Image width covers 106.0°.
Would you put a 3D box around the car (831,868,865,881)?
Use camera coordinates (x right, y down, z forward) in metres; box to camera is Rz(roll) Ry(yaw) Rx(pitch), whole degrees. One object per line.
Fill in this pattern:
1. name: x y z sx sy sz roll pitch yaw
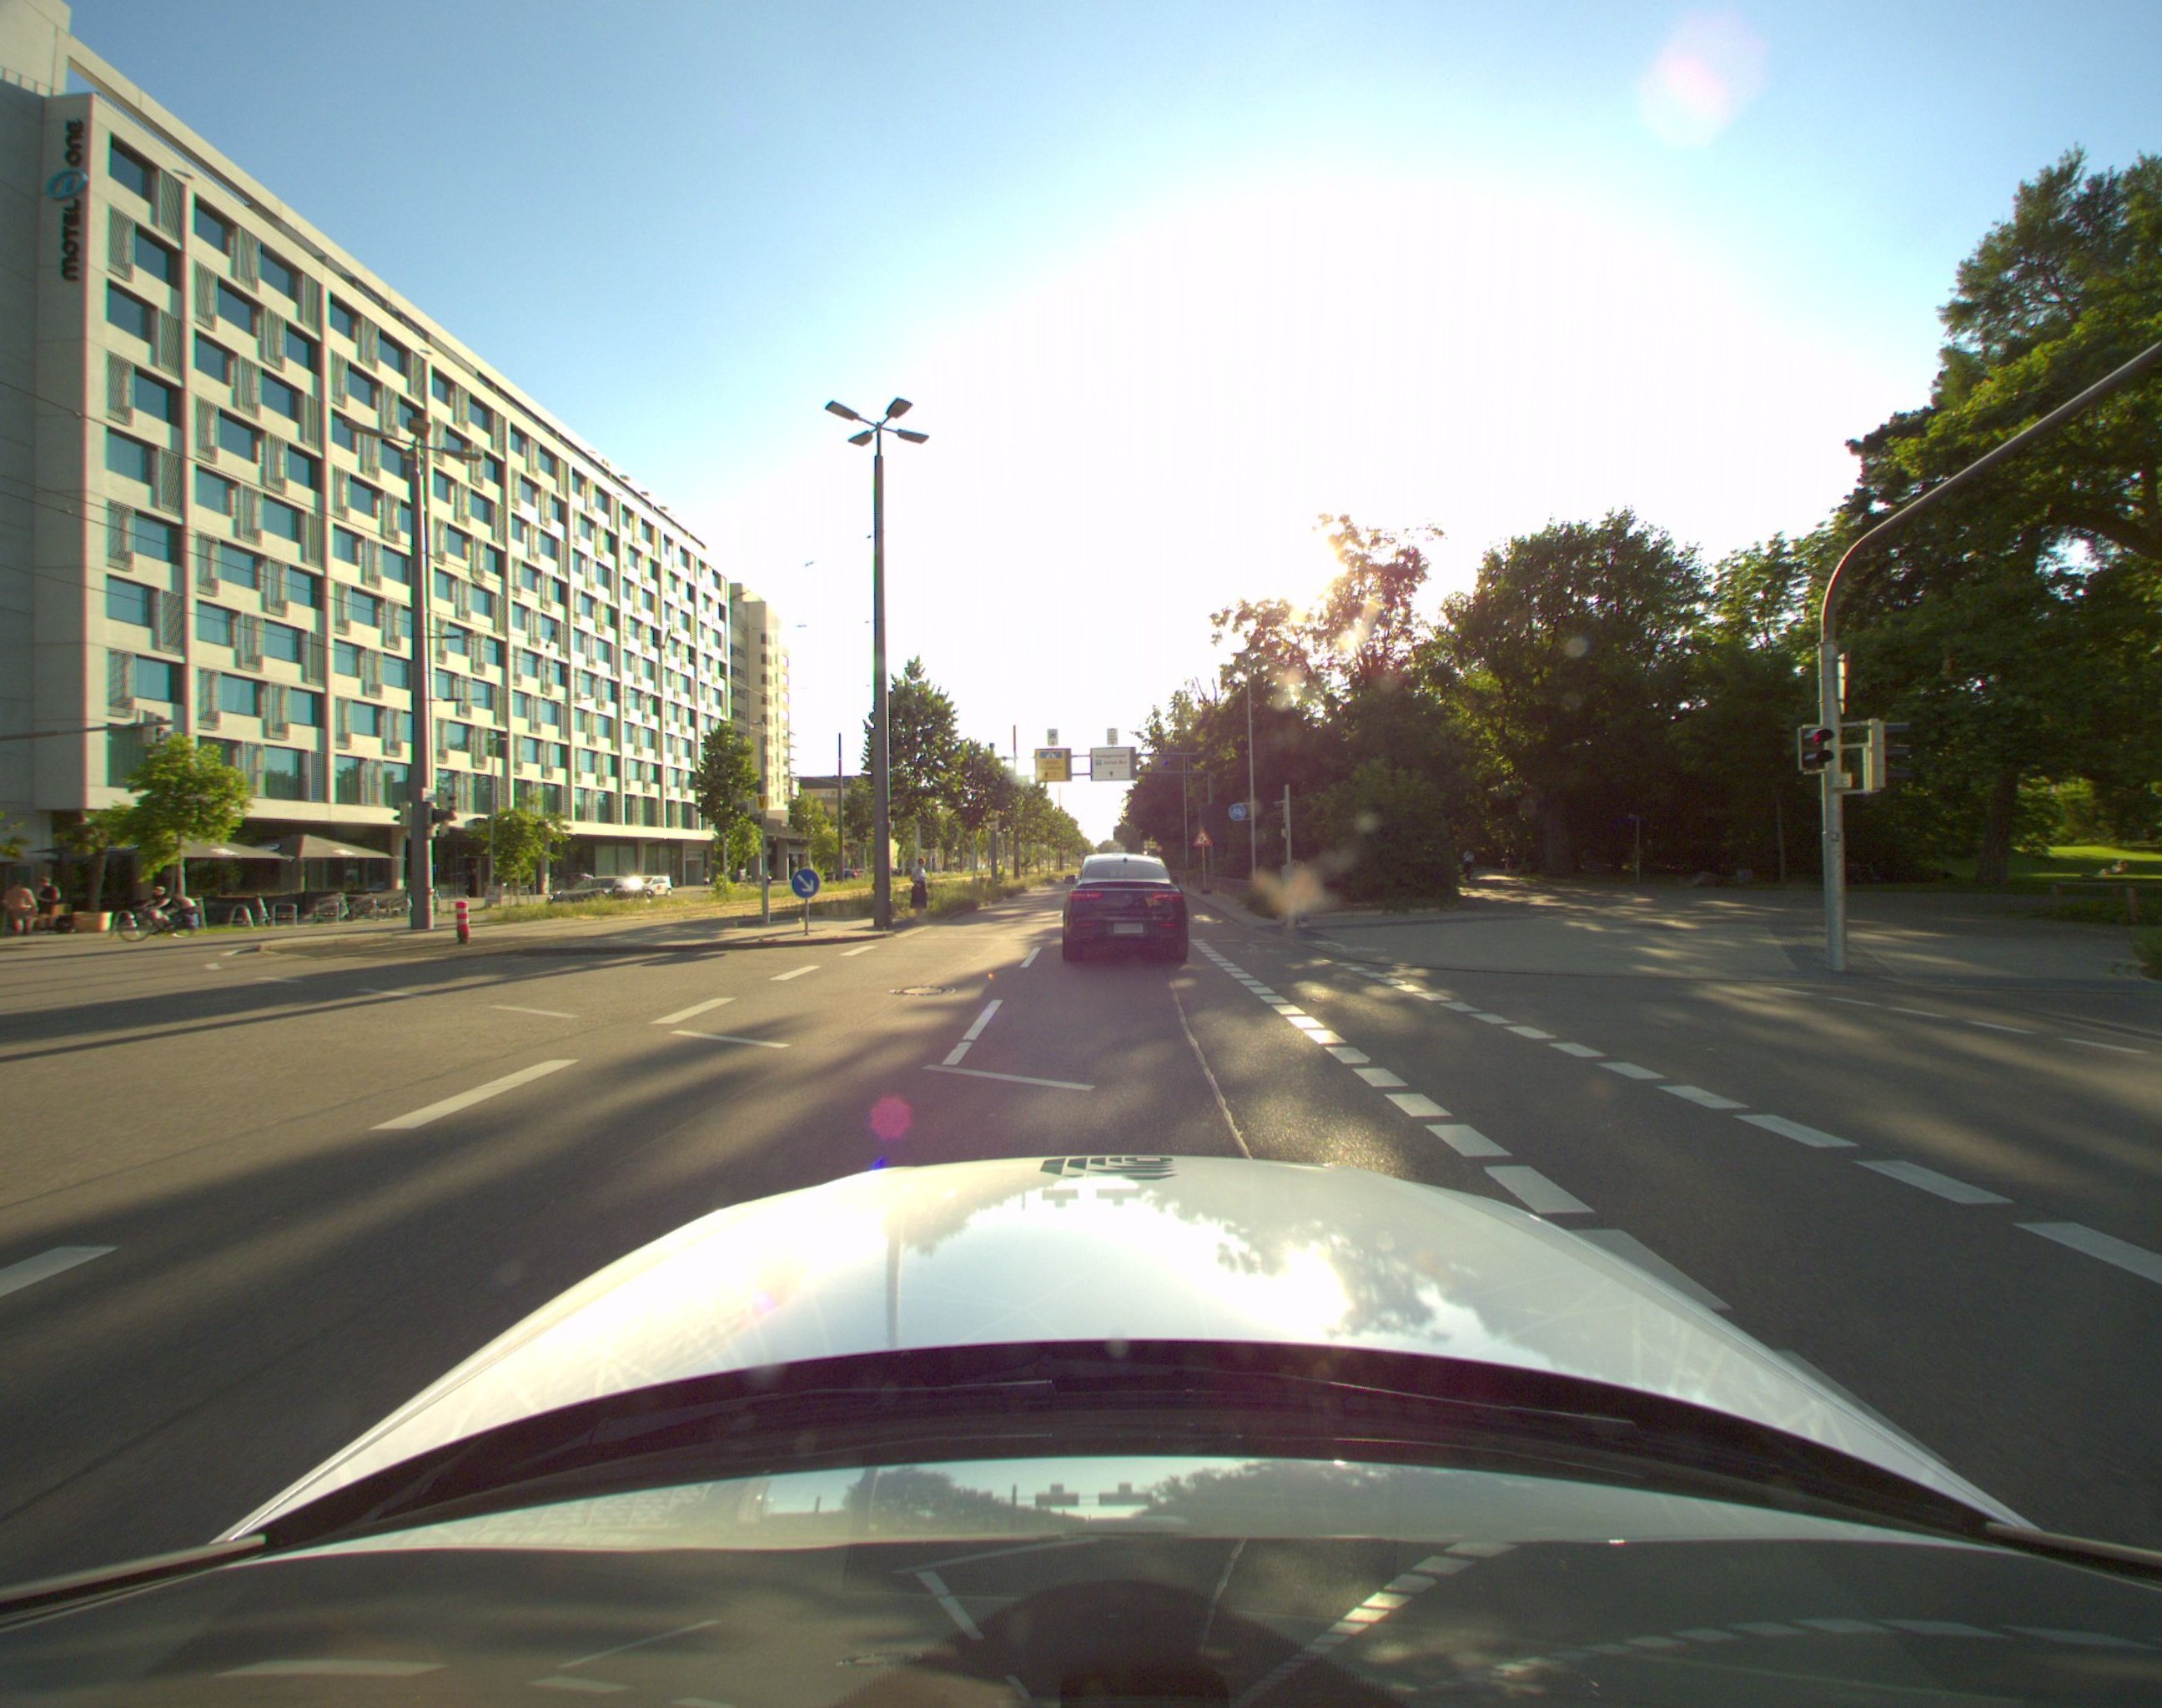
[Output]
1. car: -27.663 2.483 96.726 3.643 1.523 1.602 2 -1 -39

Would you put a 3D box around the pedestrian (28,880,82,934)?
1. pedestrian: -33.756 1.742 26.803 0.863 1.721 0.806 -1 -1 11

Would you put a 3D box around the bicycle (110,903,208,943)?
1. bicycle: -28.548 2.120 25.275 0.622 1.067 2.079 -1 -1 3

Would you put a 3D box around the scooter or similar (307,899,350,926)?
1. scooter or similar: -29.861 2.309 32.337 1.238 1.019 0.511 -2 -1 2

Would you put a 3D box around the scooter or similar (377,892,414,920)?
1. scooter or similar: -29.868 2.259 35.488 1.238 1.172 0.406 -2 -1 2

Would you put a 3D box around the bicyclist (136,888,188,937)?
1. bicyclist: -28.549 1.803 25.304 0.622 1.465 0.851 -1 -1 3

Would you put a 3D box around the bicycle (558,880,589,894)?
1. bicycle: -36.228 2.367 58.120 1.801 0.905 0.511 -1 -1 -5

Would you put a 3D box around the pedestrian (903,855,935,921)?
1. pedestrian: -4.280 0.892 21.558 0.595 1.699 0.715 -1 -1 7

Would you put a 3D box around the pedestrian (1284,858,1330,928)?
1. pedestrian: 5.504 0.933 19.890 0.765 1.636 0.768 -3 -1 -8

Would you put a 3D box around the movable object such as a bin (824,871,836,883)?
1. movable object such as a bin: -27.100 2.466 87.893 0.851 1.280 0.944 -2 -1 16

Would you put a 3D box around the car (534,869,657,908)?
1. car: -19.253 1.331 32.597 1.884 1.343 4.852 -1 -1 2

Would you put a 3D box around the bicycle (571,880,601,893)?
1. bicycle: -35.960 2.371 59.193 1.801 0.905 0.511 -1 -1 -5

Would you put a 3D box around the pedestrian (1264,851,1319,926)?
1. pedestrian: 5.352 0.866 20.724 0.862 1.802 0.898 -3 -1 -33

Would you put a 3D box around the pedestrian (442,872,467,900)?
1. pedestrian: -38.899 1.994 50.604 1.061 1.670 0.970 -1 -1 -28

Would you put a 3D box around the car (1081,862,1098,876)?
1. car: 0.996 1.705 92.629 1.879 1.580 4.001 0 0 1

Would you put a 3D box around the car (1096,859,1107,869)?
1. car: 3.520 1.750 140.976 1.879 1.580 4.001 0 0 1

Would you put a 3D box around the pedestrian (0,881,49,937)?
1. pedestrian: -33.866 1.735 26.012 0.863 1.721 0.806 -1 -1 11

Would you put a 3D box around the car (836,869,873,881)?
1. car: -27.733 2.576 99.583 1.764 1.453 4.023 0 -1 44

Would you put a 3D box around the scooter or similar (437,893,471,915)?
1. scooter or similar: -29.558 2.360 38.404 1.238 1.019 0.435 -2 -1 2

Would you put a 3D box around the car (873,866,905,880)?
1. car: -26.011 2.581 110.496 3.777 1.829 1.804 1 -1 -38

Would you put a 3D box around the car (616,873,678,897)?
1. car: -28.906 2.052 54.346 1.877 1.492 3.876 0 0 4

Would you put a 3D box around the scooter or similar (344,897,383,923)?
1. scooter or similar: -29.824 2.322 33.864 1.238 1.019 0.435 -2 -1 2

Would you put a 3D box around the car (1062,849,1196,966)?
1. car: 0.710 0.807 14.153 1.987 1.734 3.999 0 0 0

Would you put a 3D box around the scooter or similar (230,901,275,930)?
1. scooter or similar: -30.369 2.260 29.852 1.238 1.006 0.406 -2 -1 2

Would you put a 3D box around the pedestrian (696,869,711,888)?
1. pedestrian: -33.642 2.142 72.628 0.840 1.653 0.971 -1 -1 4

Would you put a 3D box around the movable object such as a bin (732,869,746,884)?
1. movable object such as a bin: -34.950 2.271 83.246 0.797 1.440 1.403 -1 -1 2

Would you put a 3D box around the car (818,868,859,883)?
1. car: -27.739 2.429 93.067 4.116 1.601 1.730 2 -1 -39
